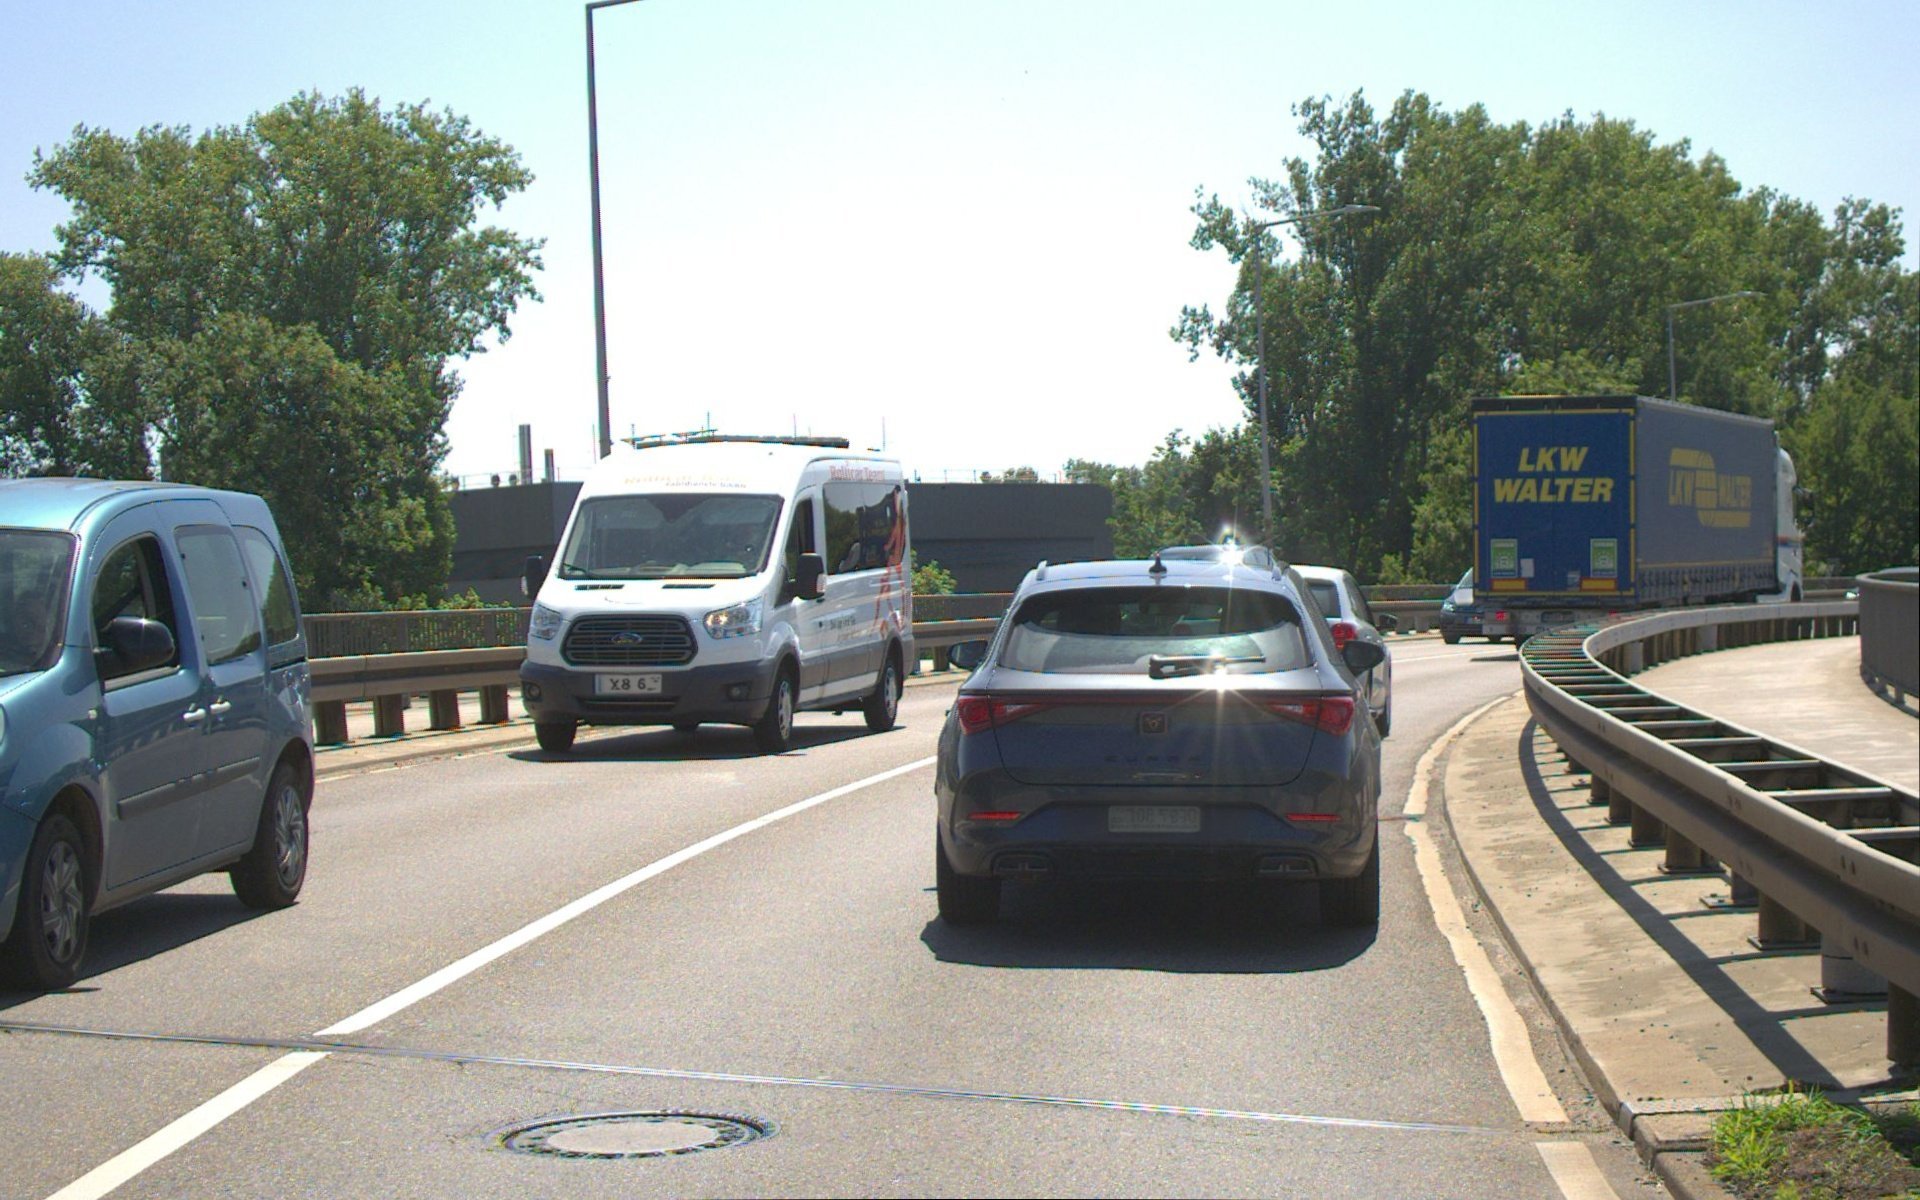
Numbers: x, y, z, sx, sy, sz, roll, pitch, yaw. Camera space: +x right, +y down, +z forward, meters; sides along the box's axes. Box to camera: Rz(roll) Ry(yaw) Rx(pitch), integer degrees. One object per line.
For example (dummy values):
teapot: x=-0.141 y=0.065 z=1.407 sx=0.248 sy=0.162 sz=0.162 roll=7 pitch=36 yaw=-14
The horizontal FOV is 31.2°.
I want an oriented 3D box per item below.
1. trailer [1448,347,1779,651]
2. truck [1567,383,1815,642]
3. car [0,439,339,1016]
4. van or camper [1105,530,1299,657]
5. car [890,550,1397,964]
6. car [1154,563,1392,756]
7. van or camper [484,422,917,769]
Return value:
trailer: x=11.382 y=-1.576 z=58.535 sx=3.137 sy=4.598 sz=12.934 roll=1 pitch=1 yaw=21
truck: x=13.833 y=-1.551 z=64.578 sx=3.174 sy=4.569 sz=7.387 roll=1 pitch=0 yaw=23
car: x=-3.786 y=0.386 z=13.096 sx=1.757 sy=1.848 sz=4.274 roll=0 pitch=1 yaw=5
van or camper: x=3.612 y=-0.090 z=50.506 sx=1.995 sy=1.755 sz=4.695 roll=-1 pitch=0 yaw=15
car: x=0.809 y=0.544 z=14.416 sx=1.846 sy=1.493 sz=3.757 roll=0 pitch=1 yaw=4
car: x=2.626 y=0.443 z=28.220 sx=1.594 sy=1.456 sz=3.543 roll=1 pitch=1 yaw=11
van or camper: x=-1.960 y=-0.121 z=28.202 sx=2.049 sy=2.529 sz=5.881 roll=1 pitch=2 yaw=11
